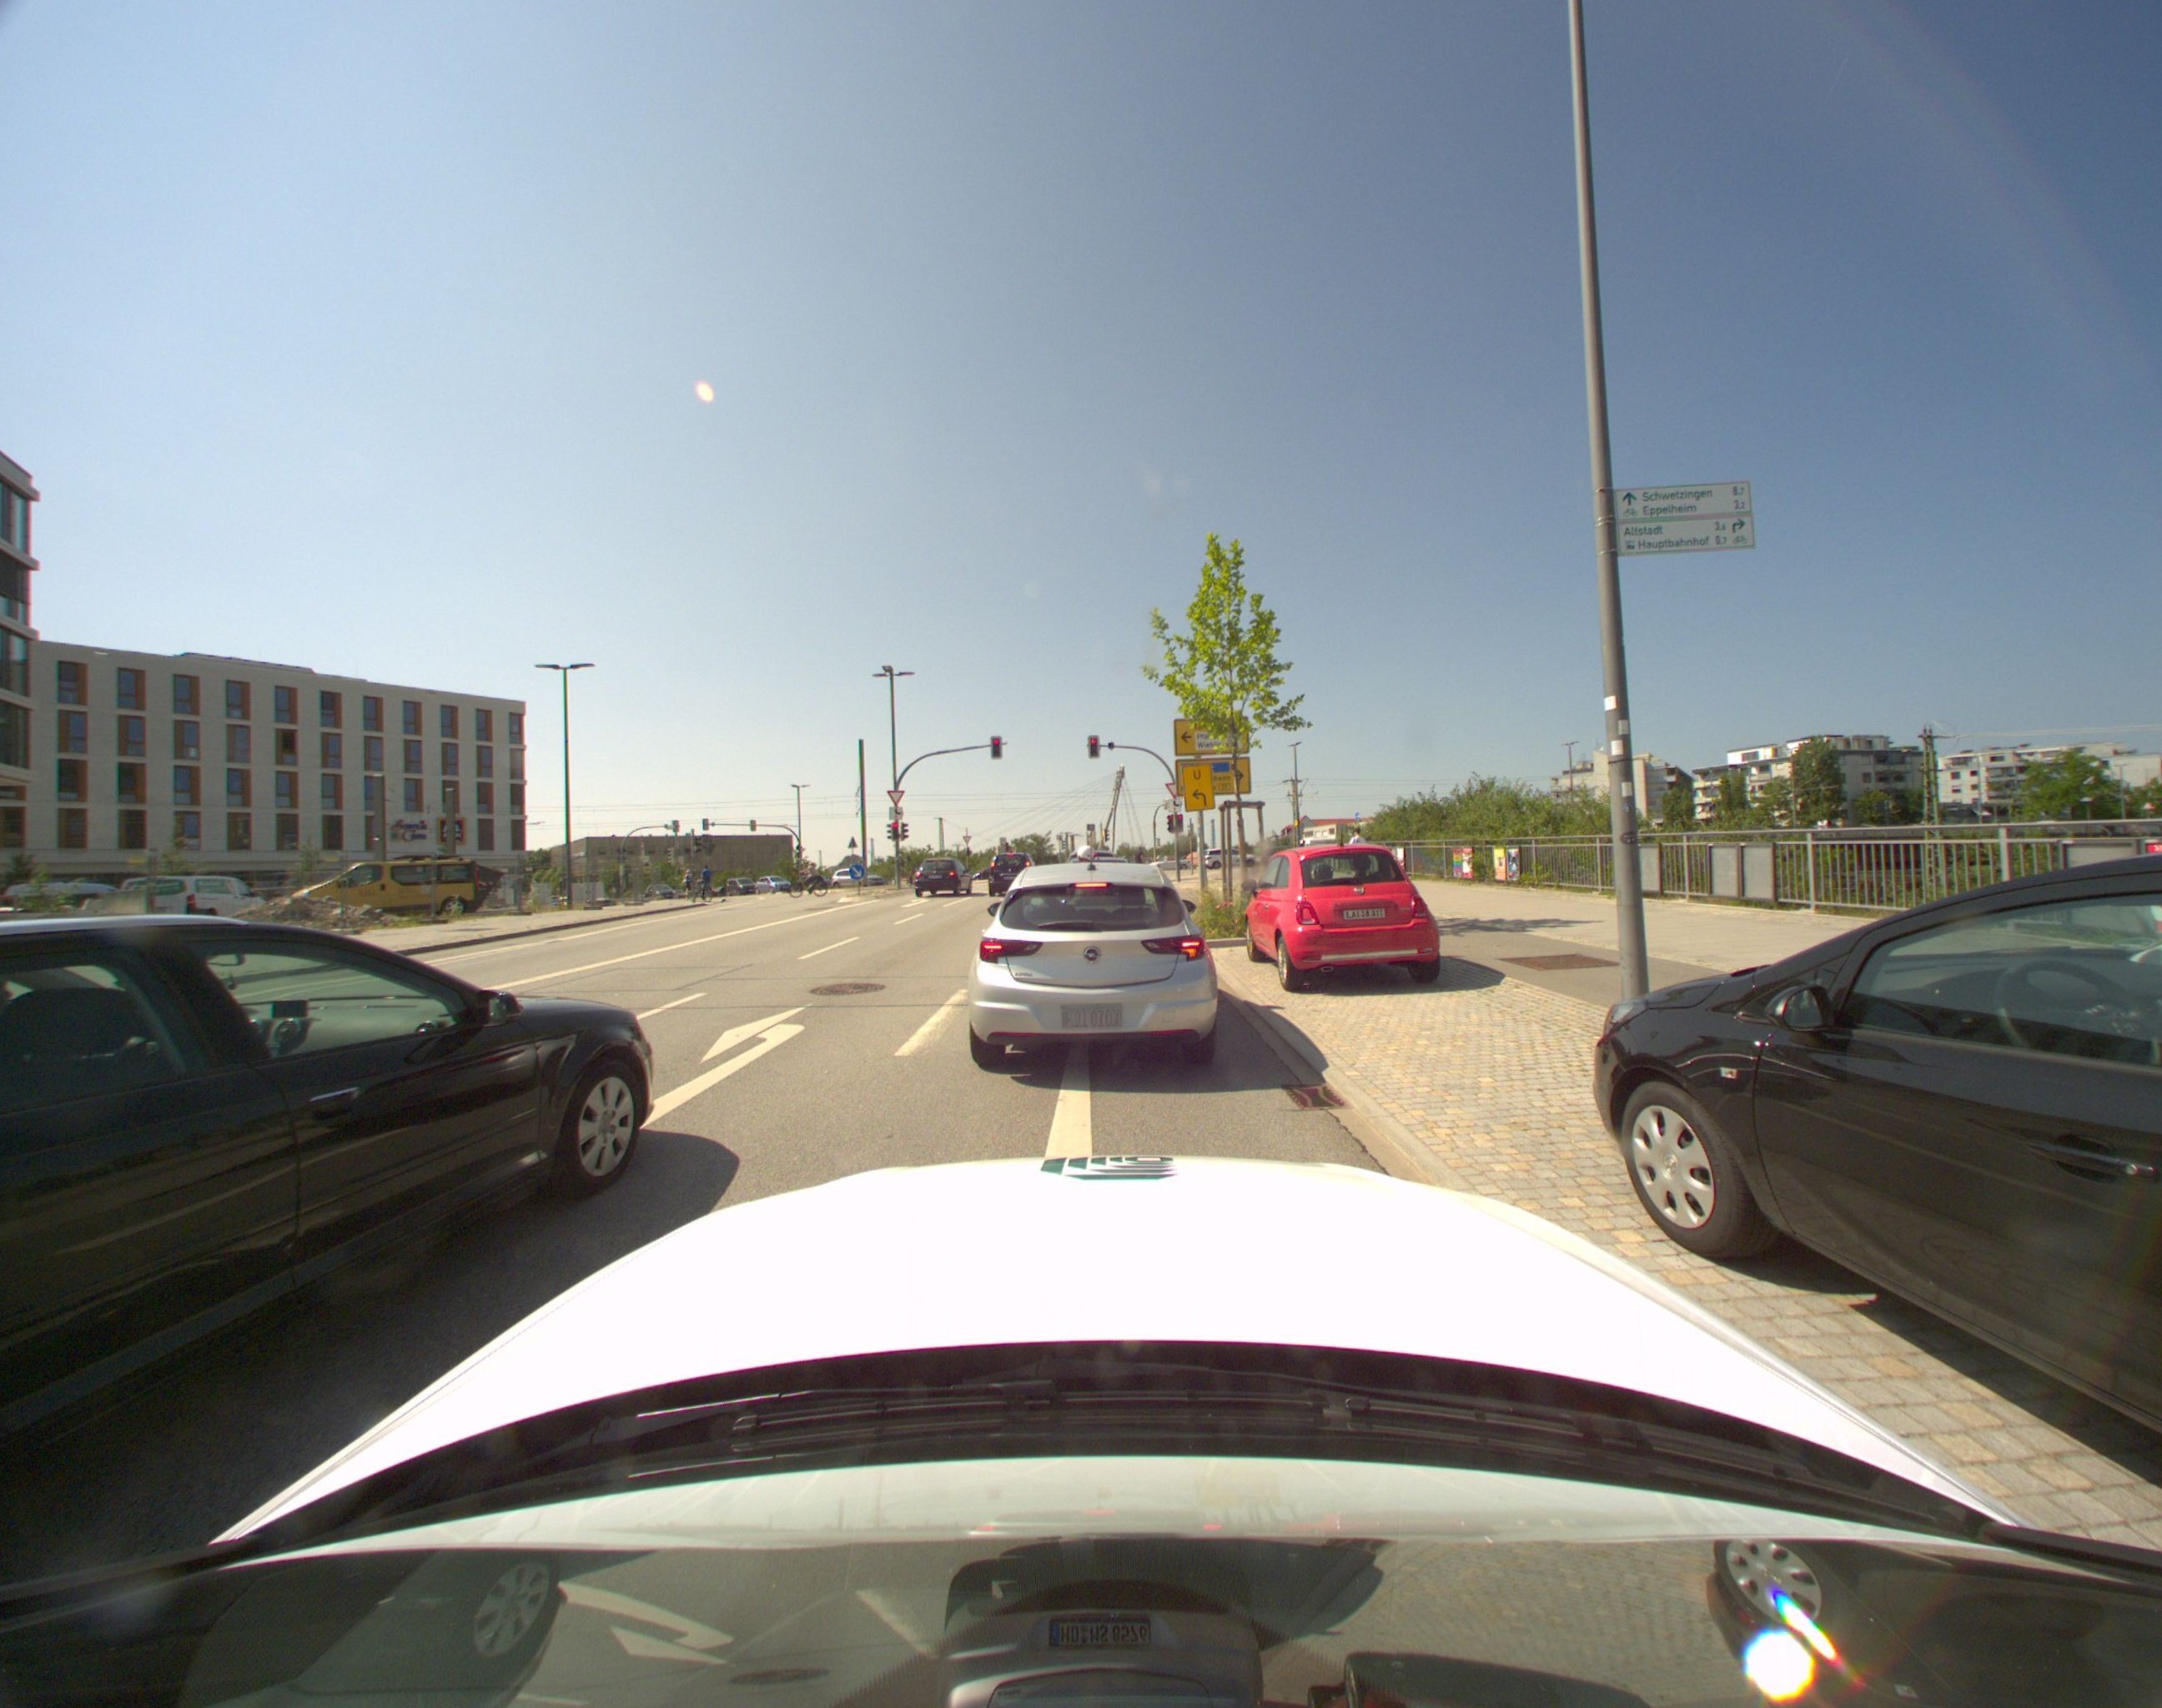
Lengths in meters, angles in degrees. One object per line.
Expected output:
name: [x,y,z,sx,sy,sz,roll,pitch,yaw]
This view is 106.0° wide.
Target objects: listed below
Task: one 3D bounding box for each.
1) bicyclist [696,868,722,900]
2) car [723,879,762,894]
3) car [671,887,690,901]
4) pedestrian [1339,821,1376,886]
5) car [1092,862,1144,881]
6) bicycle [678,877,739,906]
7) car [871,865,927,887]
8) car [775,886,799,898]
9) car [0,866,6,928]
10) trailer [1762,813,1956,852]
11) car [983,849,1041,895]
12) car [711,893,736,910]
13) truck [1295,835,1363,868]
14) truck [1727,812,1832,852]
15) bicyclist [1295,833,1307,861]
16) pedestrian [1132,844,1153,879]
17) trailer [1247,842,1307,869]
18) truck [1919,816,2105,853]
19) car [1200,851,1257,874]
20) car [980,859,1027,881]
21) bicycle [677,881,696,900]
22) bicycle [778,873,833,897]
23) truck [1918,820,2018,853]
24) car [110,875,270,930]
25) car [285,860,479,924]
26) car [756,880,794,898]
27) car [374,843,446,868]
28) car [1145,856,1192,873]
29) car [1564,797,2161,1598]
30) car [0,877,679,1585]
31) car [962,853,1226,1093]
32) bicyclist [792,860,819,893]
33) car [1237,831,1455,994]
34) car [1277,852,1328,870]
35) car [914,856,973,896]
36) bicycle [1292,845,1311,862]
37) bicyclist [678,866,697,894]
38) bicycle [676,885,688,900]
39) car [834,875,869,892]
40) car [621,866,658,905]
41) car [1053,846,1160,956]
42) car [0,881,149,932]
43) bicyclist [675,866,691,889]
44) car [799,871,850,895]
bicyclist: [-18.041,1.440,39.473,0.819,1.560,0.864,0,-1,3]
car: [-33.229,3.169,79.901,2.011,1.455,4.431,1,-1,-44]
car: [-47.952,4.769,97.434,1.690,1.455,3.959,1,-1,-32]
pedestrian: [8.004,-0.009,23.596,0.755,1.830,0.885,0,-1,1]
car: [2.717,1.299,60.066,3.763,1.390,1.666,0,-1,0]
bicycle: [-18.043,1.807,39.456,2.513,1.134,0.729,-6,2,3]
car: [-13.863,1.655,62.166,3.804,1.629,1.856,0,-1,-1]
car: [-33.568,4.353,92.924,1.532,1.304,3.183,1,-1,-43]
car: [-36.216,1.408,25.054,2.220,2.056,4.133,0,-1,-28]
trailer: [68.088,-1.788,71.244,17.225,3.204,3.723,0,-1,-14]
car: [-2.574,0.665,31.229,1.797,1.622,3.917,-1,-1,1]
car: [-46.770,6.216,106.522,2.010,2.014,3.953,1,-1,-41]
truck: [19.102,-0.177,62.753,4.700,2.540,1.990,0,-1,-14]
truck: [59.070,-1.791,68.939,6.478,3.204,3.721,0,-1,-14]
bicyclist: [15.385,-0.483,56.934,0.628,1.887,0.599,-2,-1,35]
pedestrian: [3.233,0.400,42.823,0.746,1.863,0.744,1,-2,-43]
trailer: [14.832,0.103,61.687,3.991,2.014,1.991,0,-1,-13]
truck: [87.333,-1.765,76.363,17.857,3.204,3.723,0,-1,-14]
car: [11.608,0.682,64.100,3.984,1.784,1.994,0,-1,-8]
car: [-6.006,1.232,63.258,3.496,1.641,1.800,0,-1,-1]
bicycle: [-21.782,2.007,44.996,0.605,1.007,2.496,-1,-1,-19]
bicycle: [-13.086,1.475,38.737,2.350,1.127,0.677,0,-1,0]
truck: [89.866,-1.705,82.524,9.889,3.158,2.492,0,-1,-15]
car: [-31.054,1.631,28.607,2.003,1.707,4.526,0,-1,-23]
car: [-22.634,1.154,26.520,1.974,1.890,4.514,-1,-1,40]
car: [-25.723,2.907,68.367,3.113,1.439,1.596,-1,-1,38]
car: [-54.337,0.150,65.989,3.990,2.014,1.991,0,-1,-12]
car: [8.321,1.018,77.517,4.195,1.645,1.827,0,-1,-10]
car: [2.881,0.645,1.721,1.576,1.555,3.548,-4,0,1]
car: [-3.032,0.796,2.284,1.699,1.412,4.001,0,-1,2]
car: [0.133,0.781,7.405,1.685,1.520,4.271,-1,0,1]
bicyclist: [-13.101,1.053,38.741,0.942,1.569,0.823,0,-1,1]
car: [3.011,0.552,10.085,1.661,1.539,3.922,-3,1,5]
car: [21.233,0.647,78.130,4.254,1.673,1.989,-1,-1,-16]
car: [-5.210,0.834,31.223,1.581,1.395,3.340,-1,-1,1]
bicycle: [15.424,-0.036,56.979,0.548,1.178,2.101,-2,-1,35]
bicyclist: [-21.777,1.439,45.030,0.843,1.502,0.655,0,-1,-18]
bicycle: [-20.661,1.968,42.194,0.517,0.692,2.235,-1,-1,-25]
car: [-17.589,2.283,62.478,2.452,1.240,1.287,-1,-1,32]
car: [-24.115,1.657,44.475,1.680,2.014,3.962,0,-1,-29]
car: [0.429,0.742,14.290,1.629,1.674,3.745,0,-1,1]
car: [-33.656,1.690,27.277,1.809,1.508,3.965,0,-1,-27]
bicyclist: [-20.660,1.207,42.255,0.732,1.175,0.653,0,-1,-26]
car: [-22.620,2.570,71.754,3.950,2.014,2.011,-1,-1,25]
